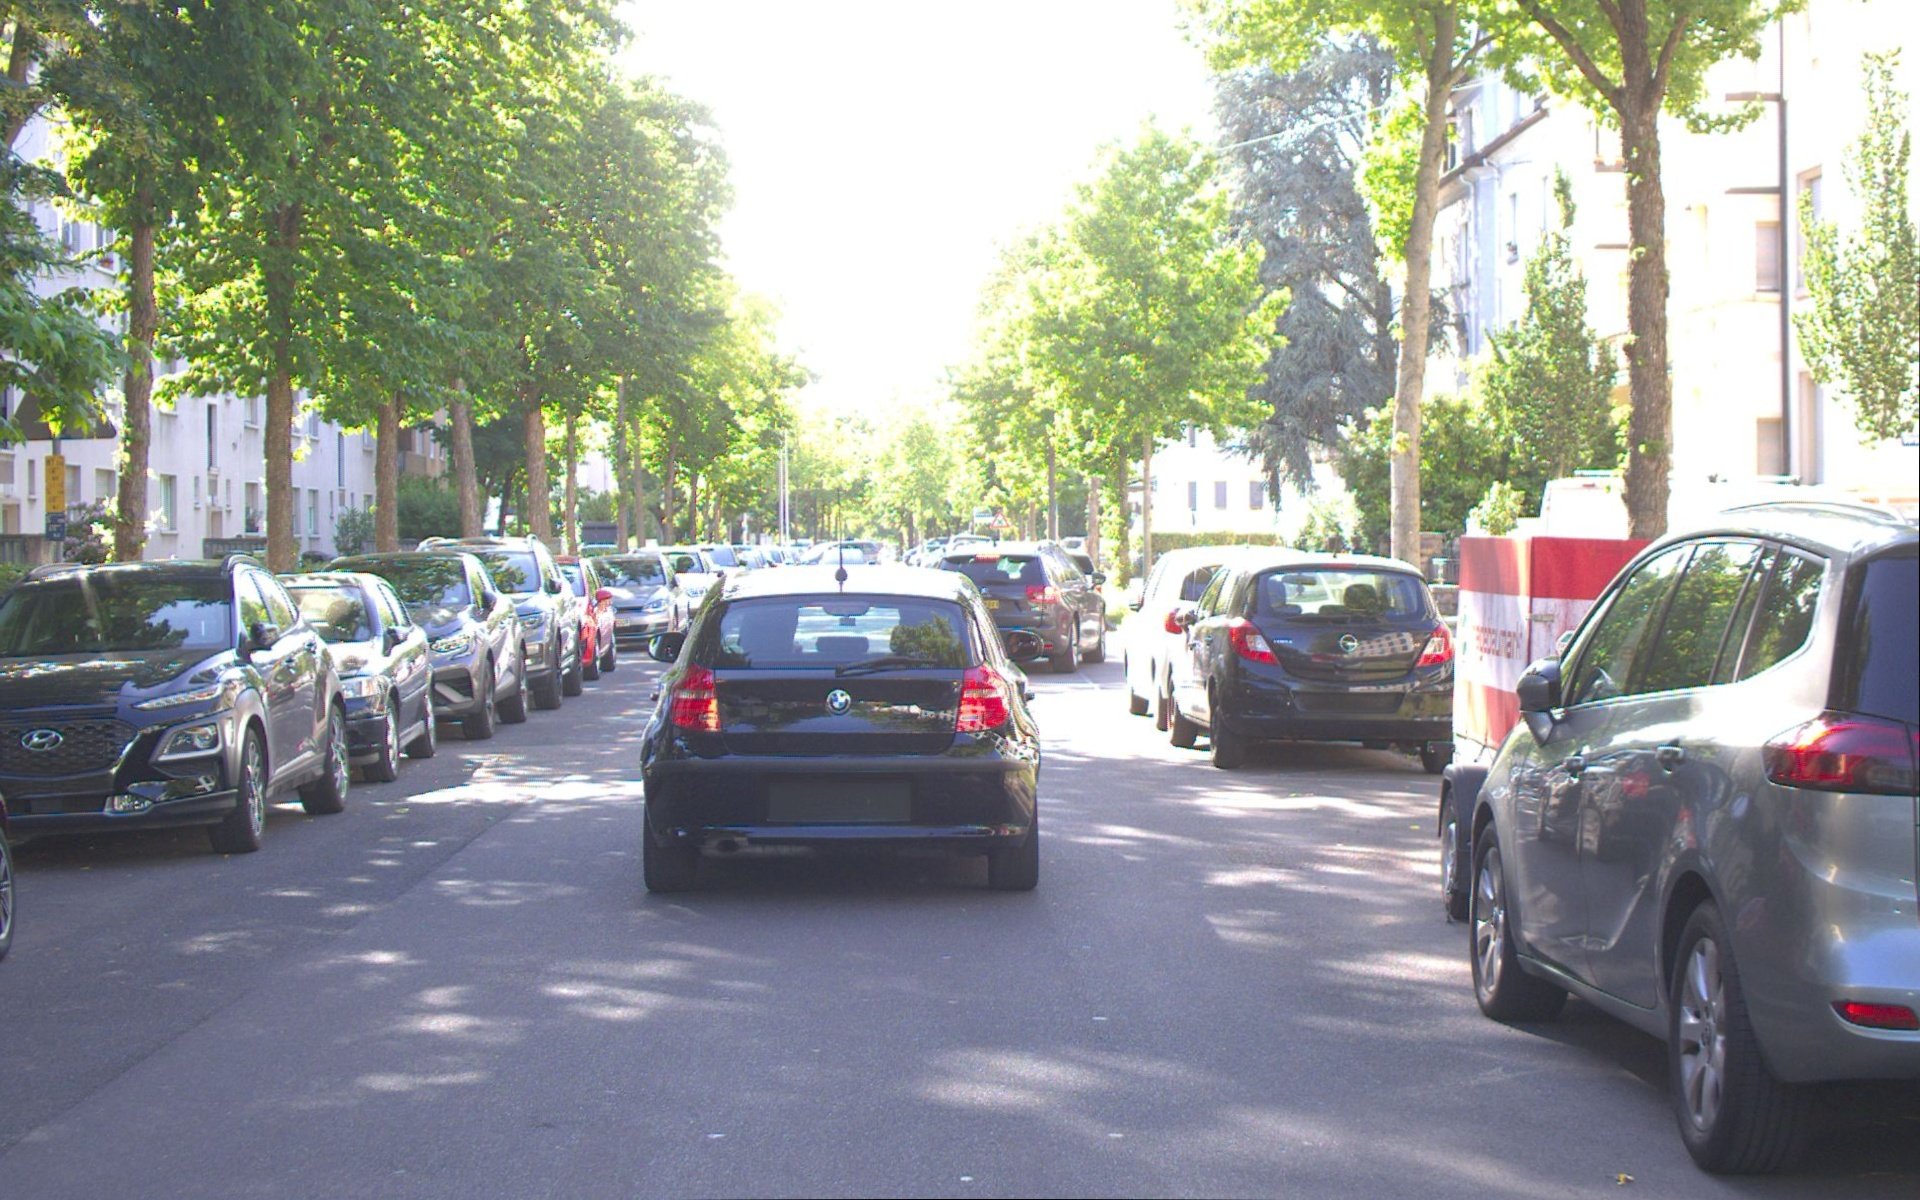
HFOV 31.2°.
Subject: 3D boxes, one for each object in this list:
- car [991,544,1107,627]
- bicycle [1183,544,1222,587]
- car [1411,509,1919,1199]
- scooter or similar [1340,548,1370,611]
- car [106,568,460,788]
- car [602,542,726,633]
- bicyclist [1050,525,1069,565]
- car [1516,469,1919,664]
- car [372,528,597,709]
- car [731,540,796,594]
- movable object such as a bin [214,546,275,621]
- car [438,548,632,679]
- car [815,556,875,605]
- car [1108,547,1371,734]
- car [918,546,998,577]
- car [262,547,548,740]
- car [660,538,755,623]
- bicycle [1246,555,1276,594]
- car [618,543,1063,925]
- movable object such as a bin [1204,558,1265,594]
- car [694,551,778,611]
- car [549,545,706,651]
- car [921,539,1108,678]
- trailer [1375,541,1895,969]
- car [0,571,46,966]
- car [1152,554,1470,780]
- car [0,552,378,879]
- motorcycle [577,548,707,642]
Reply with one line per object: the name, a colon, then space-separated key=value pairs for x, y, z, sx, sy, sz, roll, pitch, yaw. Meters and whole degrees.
car: x=1.646 y=-0.301 z=65.229 sx=1.821 sy=1.464 sz=4.910 roll=1 pitch=1 yaw=-2
bicycle: x=7.245 y=-1.041 z=102.806 sx=0.838 sy=1.253 sz=2.232 roll=0 pitch=1 yaw=-5
car: x=2.598 y=0.608 z=9.883 sx=1.792 sy=1.637 sz=4.819 roll=2 pitch=1 yaw=-2
scooter or similar: x=7.632 y=-0.394 z=66.419 sx=0.402 sy=1.181 sz=1.205 roll=0 pitch=2 yaw=14
car: x=-4.678 y=0.478 z=24.363 sx=1.784 sy=1.348 sz=4.482 roll=-1 pitch=1 yaw=-3
car: x=-5.181 y=-0.256 z=60.582 sx=2.063 sy=1.519 sz=4.723 roll=-1 pitch=1 yaw=-4
bicyclist: x=4.071 y=-2.259 z=141.008 sx=0.677 sy=1.604 sz=0.922 roll=-1 pitch=1 yaw=-4
car: x=9.651 y=-0.444 z=42.623 sx=5.039 sy=2.298 sz=2.235 roll=-1 pitch=1 yaw=-24
car: x=-4.765 y=0.134 z=35.026 sx=1.767 sy=1.682 sz=4.815 roll=-1 pitch=1 yaw=-2
car: x=-6.000 y=-1.033 z=105.341 sx=1.811 sy=1.590 sz=4.233 roll=-1 pitch=1 yaw=-2
movable object such as a bin: x=-12.931 y=-0.302 z=62.185 sx=0.929 sy=1.319 sz=1.379 roll=-1 pitch=1 yaw=-6
car: x=-5.045 y=0.127 z=41.283 sx=1.856 sy=1.464 sz=4.182 roll=0 pitch=1 yaw=-1
car: x=-3.622 y=-0.616 z=108.186 sx=1.809 sy=1.441 sz=4.367 roll=-2 pitch=1 yaw=-2
car: x=2.327 y=0.294 z=29.522 sx=1.732 sy=1.482 sz=4.010 roll=0 pitch=1 yaw=-3
car: x=-0.122 y=-1.988 z=176.965 sx=3.986 sy=1.581 sz=1.727 roll=-1 pitch=1 yaw=-5
car: x=-4.717 y=0.315 z=29.791 sx=1.769 sy=1.526 sz=4.420 roll=0 pitch=1 yaw=0
car: x=-5.281 y=-0.429 z=72.331 sx=1.728 sy=1.612 sz=4.367 roll=-4 pitch=1 yaw=-2
bicycle: x=7.610 y=-0.645 z=86.934 sx=0.581 sy=0.971 sz=1.903 roll=-1 pitch=1 yaw=0
car: x=-0.546 y=0.514 z=16.039 sx=1.782 sy=1.518 sz=4.000 roll=-1 pitch=1 yaw=-2
movable object such as a bin: x=7.224 y=-0.636 z=90.439 sx=1.222 sy=0.901 sz=1.663 roll=0 pitch=1 yaw=19
car: x=-5.492 y=-0.495 z=84.696 sx=1.779 sy=1.374 sz=4.263 roll=-2 pitch=1 yaw=-1
car: x=-5.039 y=-0.070 z=52.708 sx=2.043 sy=1.519 sz=4.606 roll=0 pitch=1 yaw=-1
car: x=0.573 y=0.085 z=40.206 sx=1.895 sy=1.519 sz=4.967 roll=0 pitch=0 yaw=-2
trailer: x=2.754 y=0.562 z=14.650 sx=1.574 sy=1.573 sz=3.192 roll=2 pitch=1 yaw=1
car: x=-4.447 y=0.684 z=11.809 sx=1.654 sy=1.499 sz=4.069 roll=-1 pitch=1 yaw=-2
car: x=2.452 y=0.421 z=24.954 sx=1.670 sy=1.445 sz=4.179 roll=2 pitch=1 yaw=-2
car: x=-4.485 y=0.543 z=19.151 sx=1.706 sy=1.571 sz=4.482 roll=-1 pitch=1 yaw=0
motorcycle: x=-5.251 y=-0.087 z=56.605 sx=0.987 sy=1.498 sz=2.233 roll=-2 pitch=1 yaw=-41
